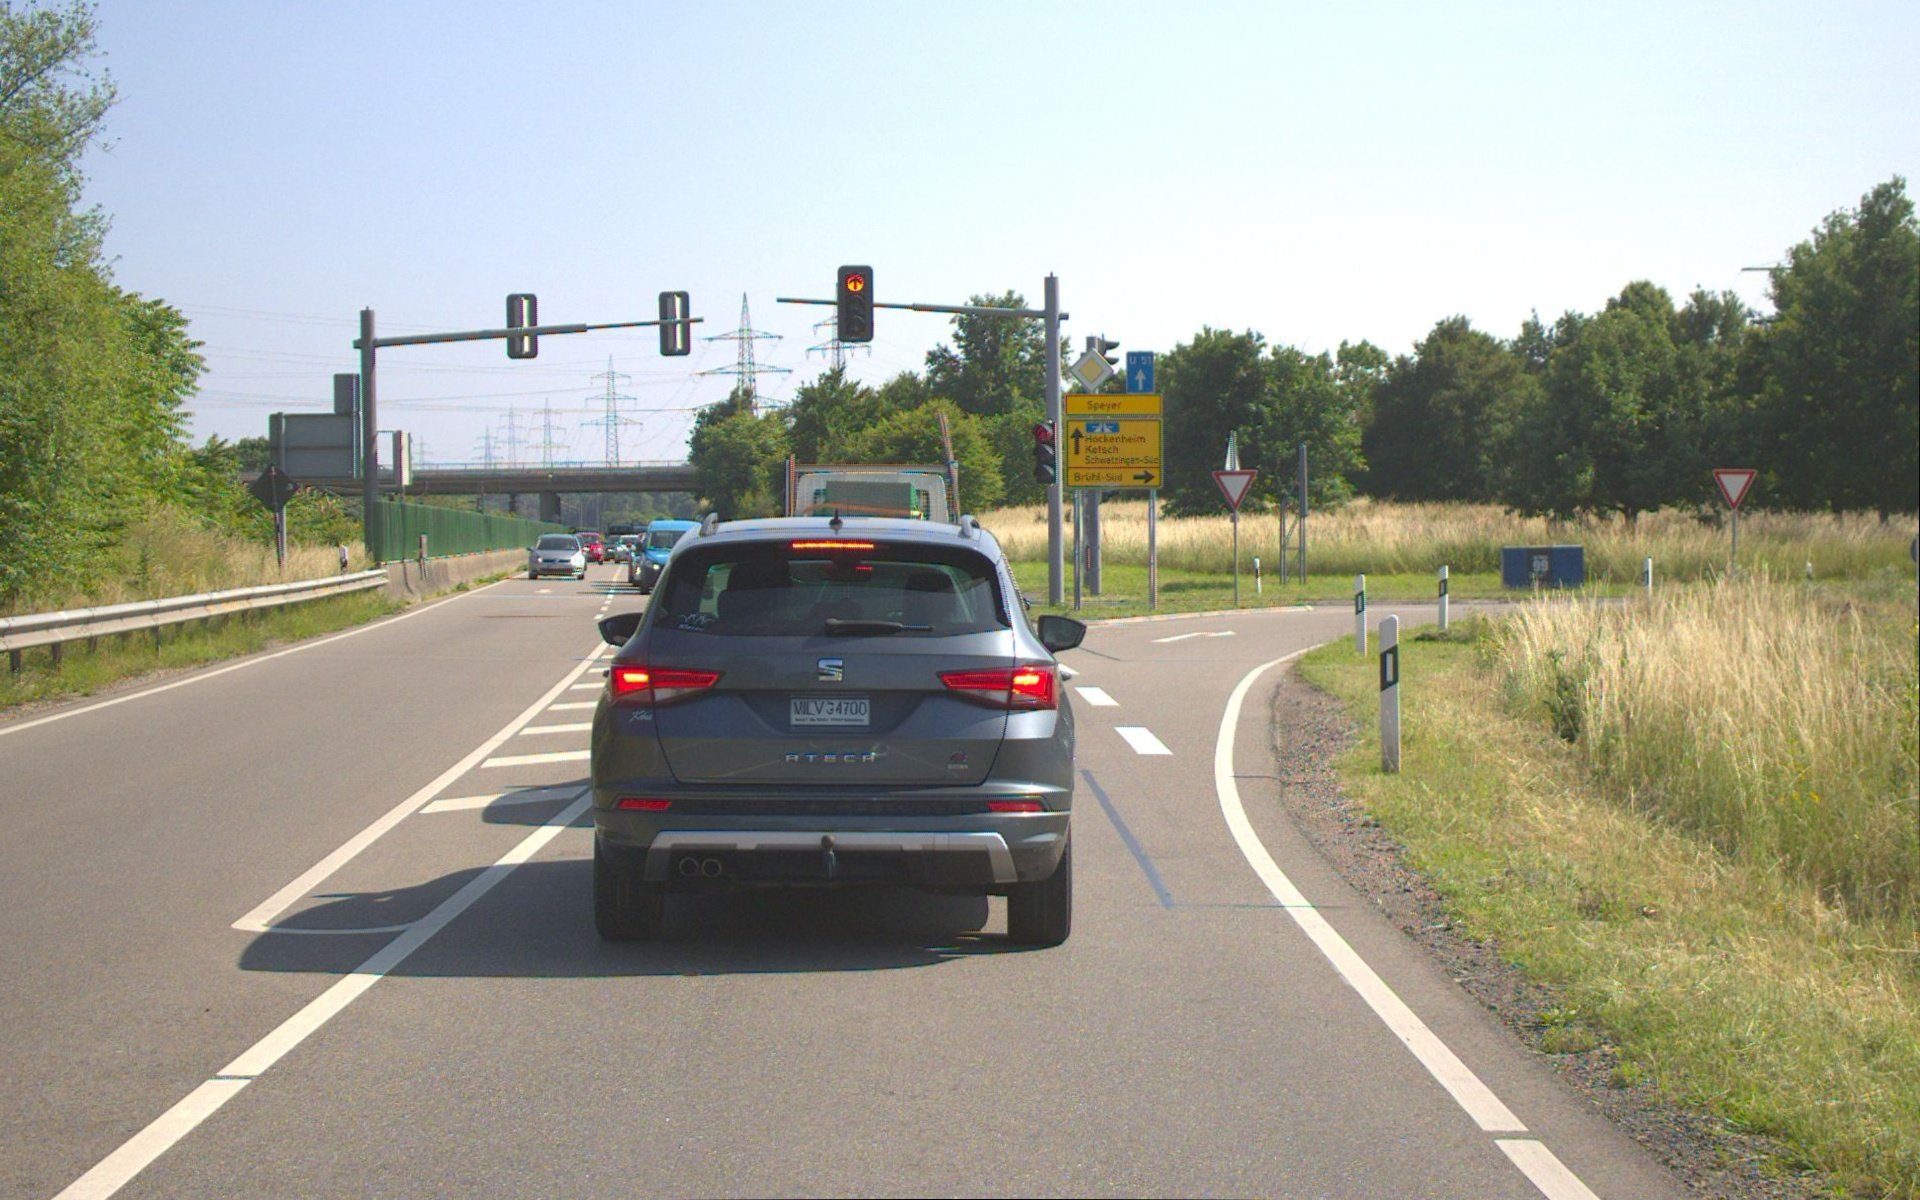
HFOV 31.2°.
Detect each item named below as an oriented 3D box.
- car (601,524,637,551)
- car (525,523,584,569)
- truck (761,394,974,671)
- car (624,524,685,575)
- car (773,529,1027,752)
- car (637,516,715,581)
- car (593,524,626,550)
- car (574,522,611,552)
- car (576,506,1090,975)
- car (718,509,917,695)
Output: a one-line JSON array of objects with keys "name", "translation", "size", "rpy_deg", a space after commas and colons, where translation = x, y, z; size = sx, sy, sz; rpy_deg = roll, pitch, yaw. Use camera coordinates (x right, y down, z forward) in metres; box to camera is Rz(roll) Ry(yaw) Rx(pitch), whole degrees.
[{"name": "car", "translation": [-17.446, -3.214, 175.701], "size": [1.761, 1.329, 4.001], "rpy_deg": [-1, 1, -6]}, {"name": "car", "translation": [-13.091, -1.768, 111.112], "size": [1.824, 1.426, 4.001], "rpy_deg": [-1, 1, -6]}, {"name": "truck", "translation": [-1.095, -0.781, 40.893], "size": [2.337, 3.055, 5.810], "rpy_deg": [0, 1, -1]}, {"name": "car", "translation": [-8.668, -1.441, 97.316], "size": [1.684, 1.375, 3.534], "rpy_deg": [0, 2, -6]}, {"name": "car", "translation": [-0.514, 0.243, 26.264], "size": [1.785, 1.538, 4.001], "rpy_deg": [0, 2, -3]}, {"name": "car", "translation": [-7.016, -1.292, 84.743], "size": [1.816, 1.535, 4.001], "rpy_deg": [-1, 1, -6]}, {"name": "car", "translation": [-19.558, -3.527, 191.943], "size": [1.761, 1.426, 4.001], "rpy_deg": [-1, 1, -6]}, {"name": "car", "translation": [-18.113, -3.099, 169.350], "size": [1.761, 1.426, 4.001], "rpy_deg": [-1, 1, -6]}, {"name": "car", "translation": [-0.530, 0.436, 14.015], "size": [1.785, 1.623, 4.001], "rpy_deg": [0, 2, -3]}, {"name": "car", "translation": [-1.384, -0.032, 33.142], "size": [1.785, 1.670, 4.001], "rpy_deg": [0, 2, -3]}]
